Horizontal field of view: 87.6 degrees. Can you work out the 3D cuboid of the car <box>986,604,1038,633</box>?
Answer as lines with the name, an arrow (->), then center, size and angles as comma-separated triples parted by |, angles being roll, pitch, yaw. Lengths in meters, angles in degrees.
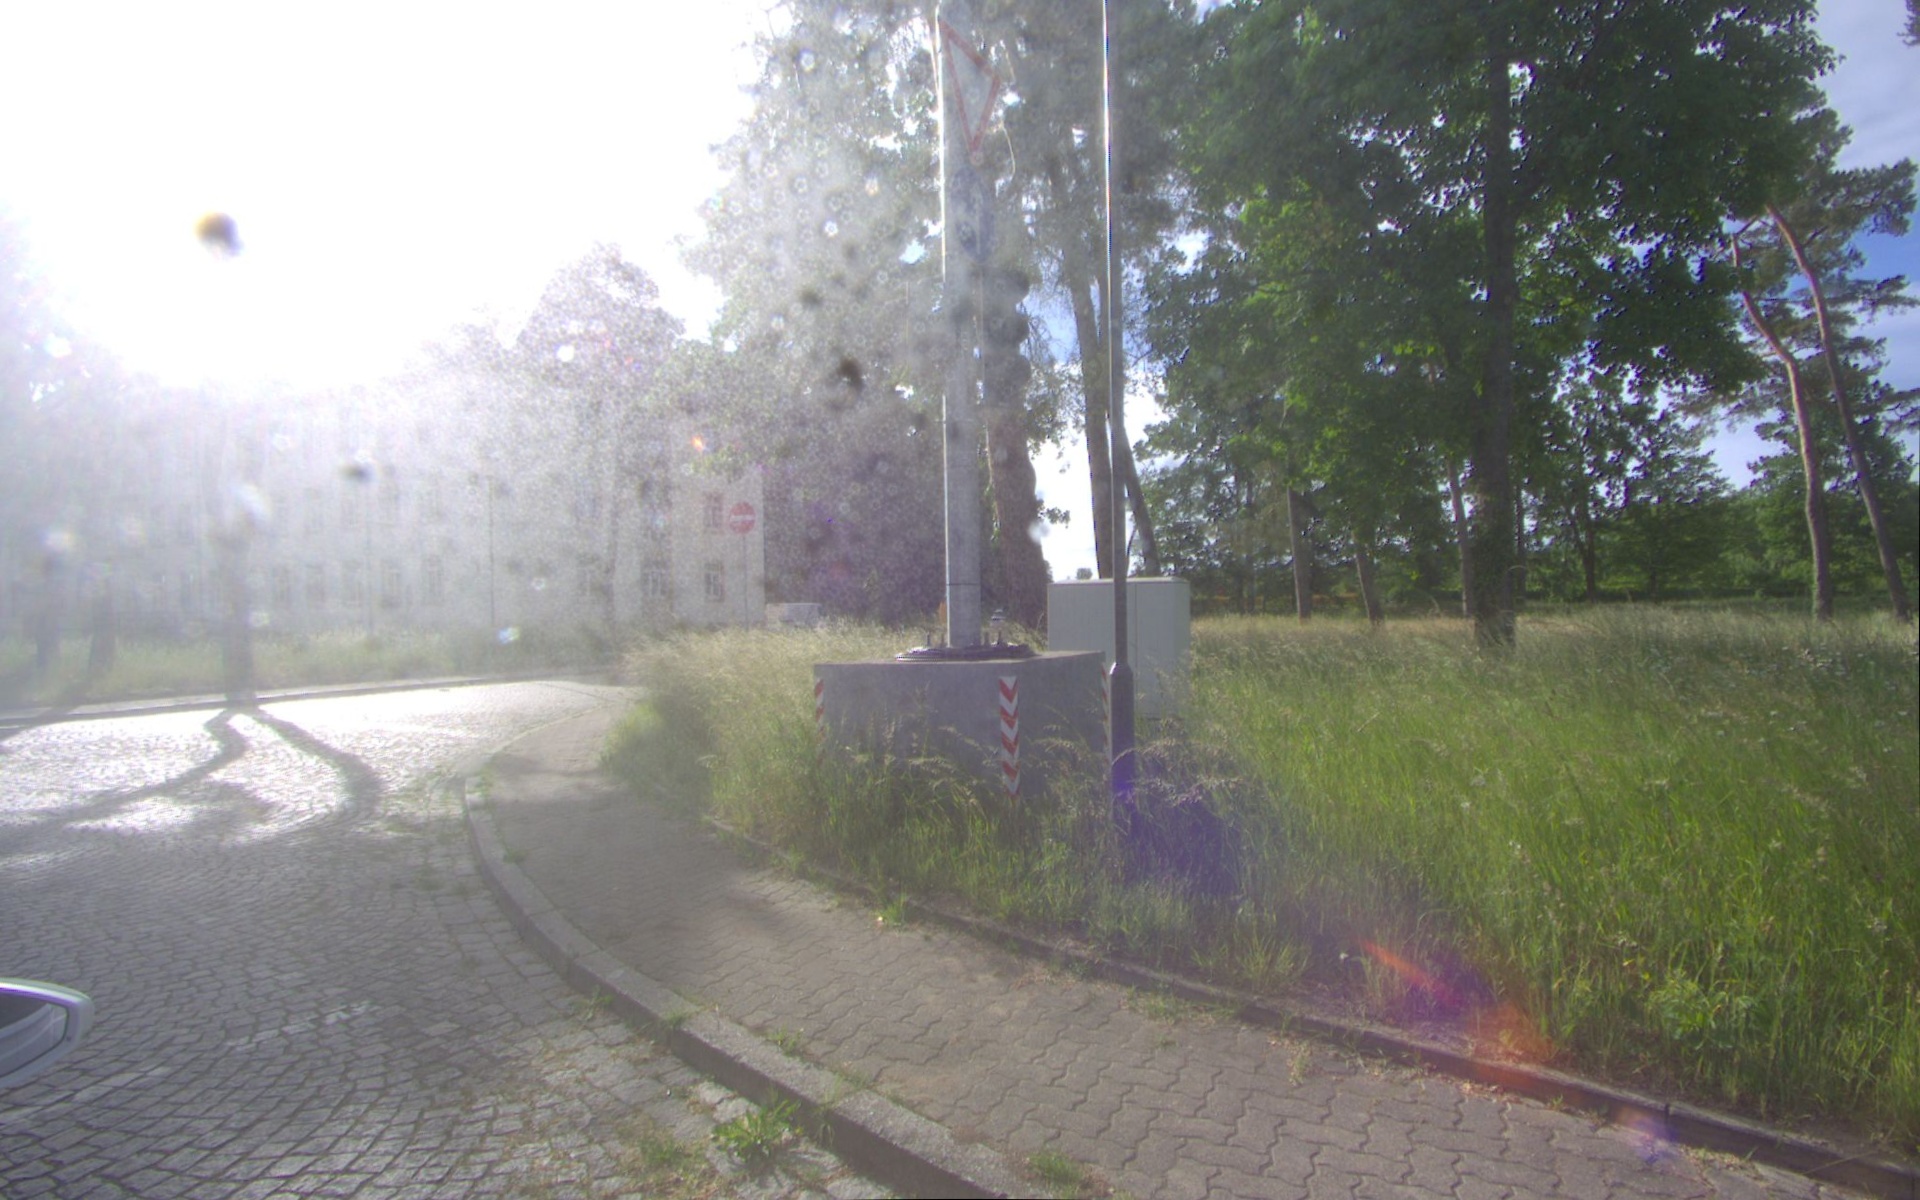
car -> 3.244, 1.155, 61.714 | 1.827, 1.701, 3.932 | -1, -1, 25

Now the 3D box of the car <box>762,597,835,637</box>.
car -> -11.015, 1.141, 68.659 | 2.230, 2.568, 5.153 | -1, -1, 29
